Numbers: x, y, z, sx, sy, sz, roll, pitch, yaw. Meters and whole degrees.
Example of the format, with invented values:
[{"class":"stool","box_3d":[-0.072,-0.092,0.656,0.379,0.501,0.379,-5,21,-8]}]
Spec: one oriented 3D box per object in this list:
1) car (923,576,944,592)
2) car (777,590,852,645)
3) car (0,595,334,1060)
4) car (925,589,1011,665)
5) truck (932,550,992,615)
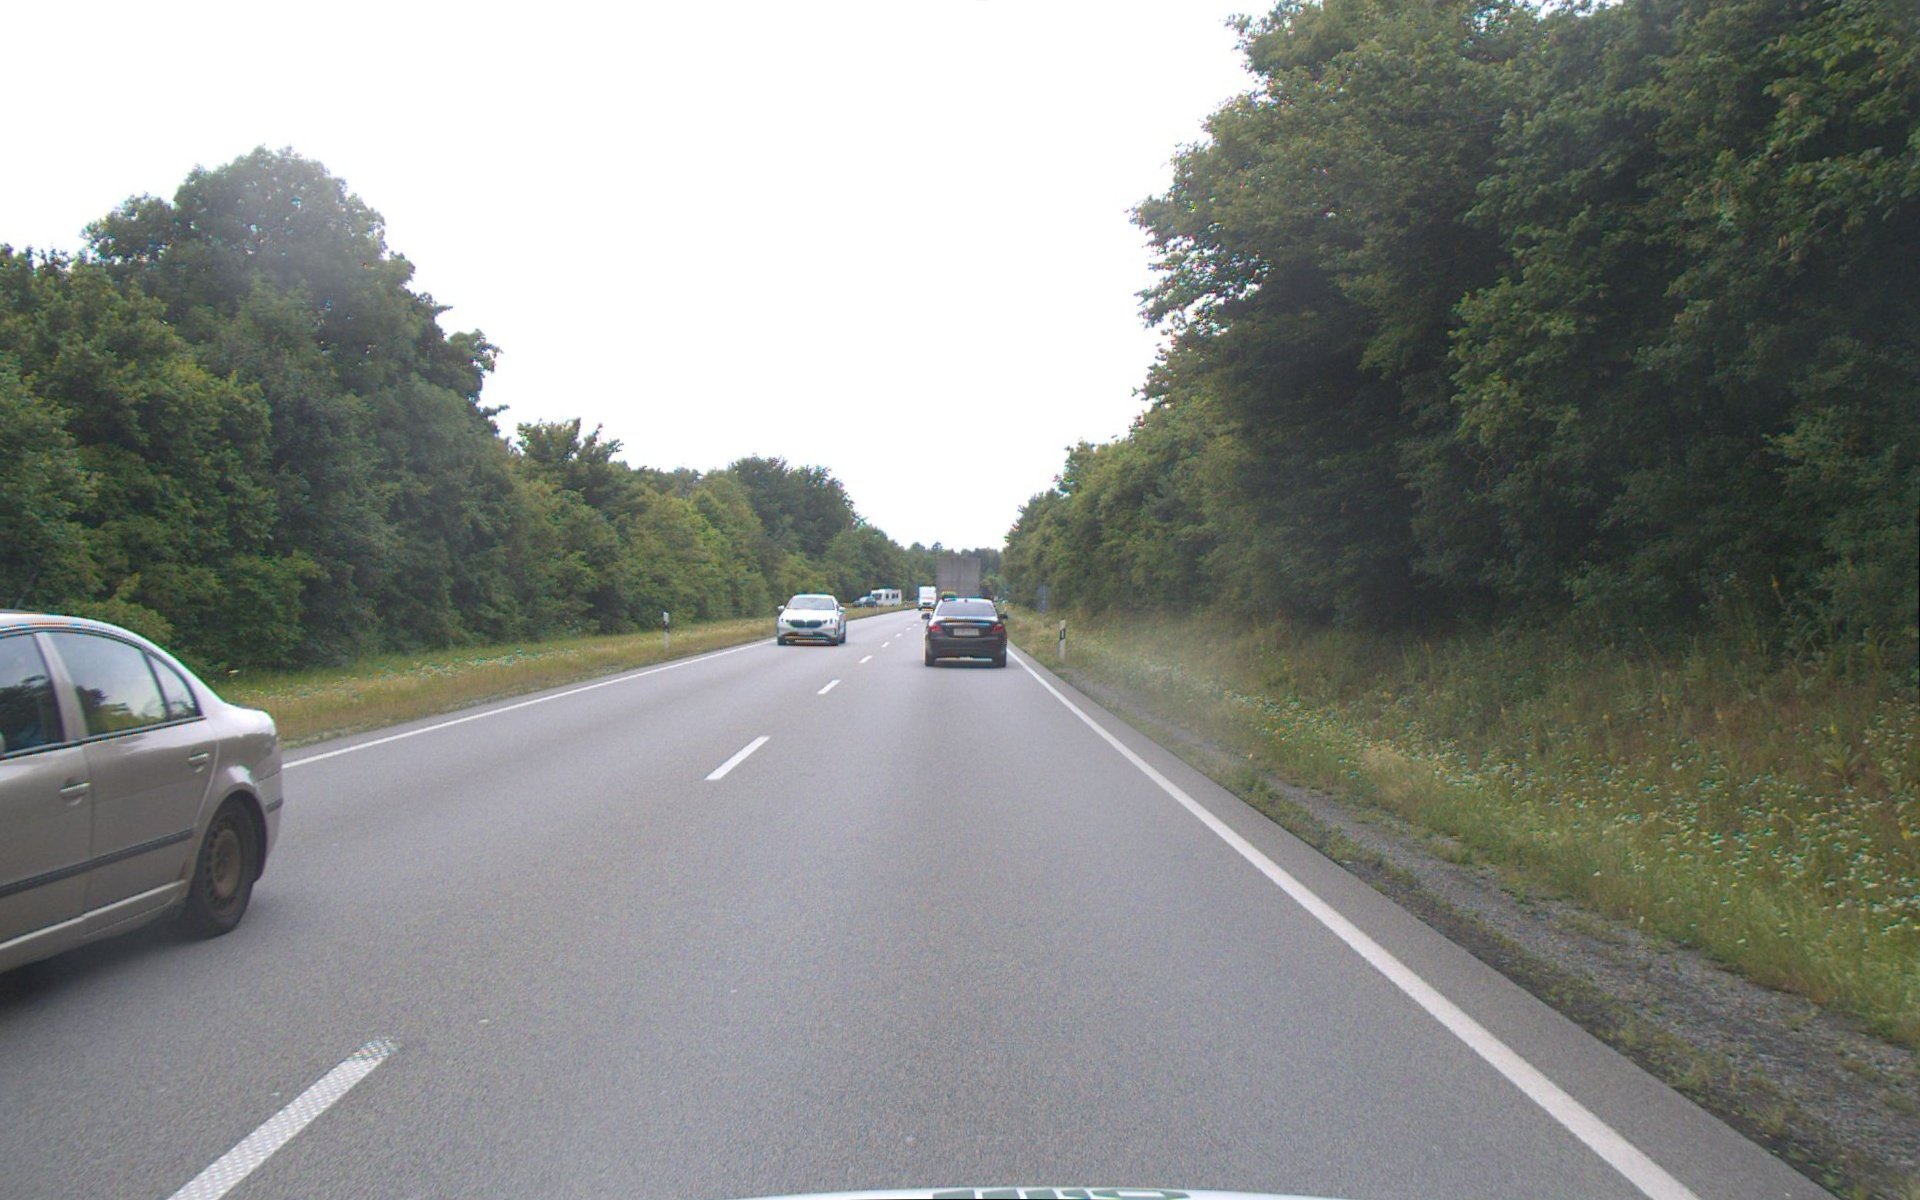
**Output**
[{"class":"car","box_3d":[-2.874,-1.760,183.323,2.232,1.631,4.691,1,0,0]},{"class":"car","box_3d":[-4.520,0.523,52.035,1.924,1.601,5.451,1,0,-1]},{"class":"car","box_3d":[-3.888,0.715,5.852,1.690,1.459,4.502,1,0,-1]},{"class":"car","box_3d":[0.128,0.578,37.282,1.755,1.579,3.998,1,0,-2]},{"class":"truck","box_3d":[0.219,-0.976,99.888,3.213,3.675,11.402,1,0,2]}]
